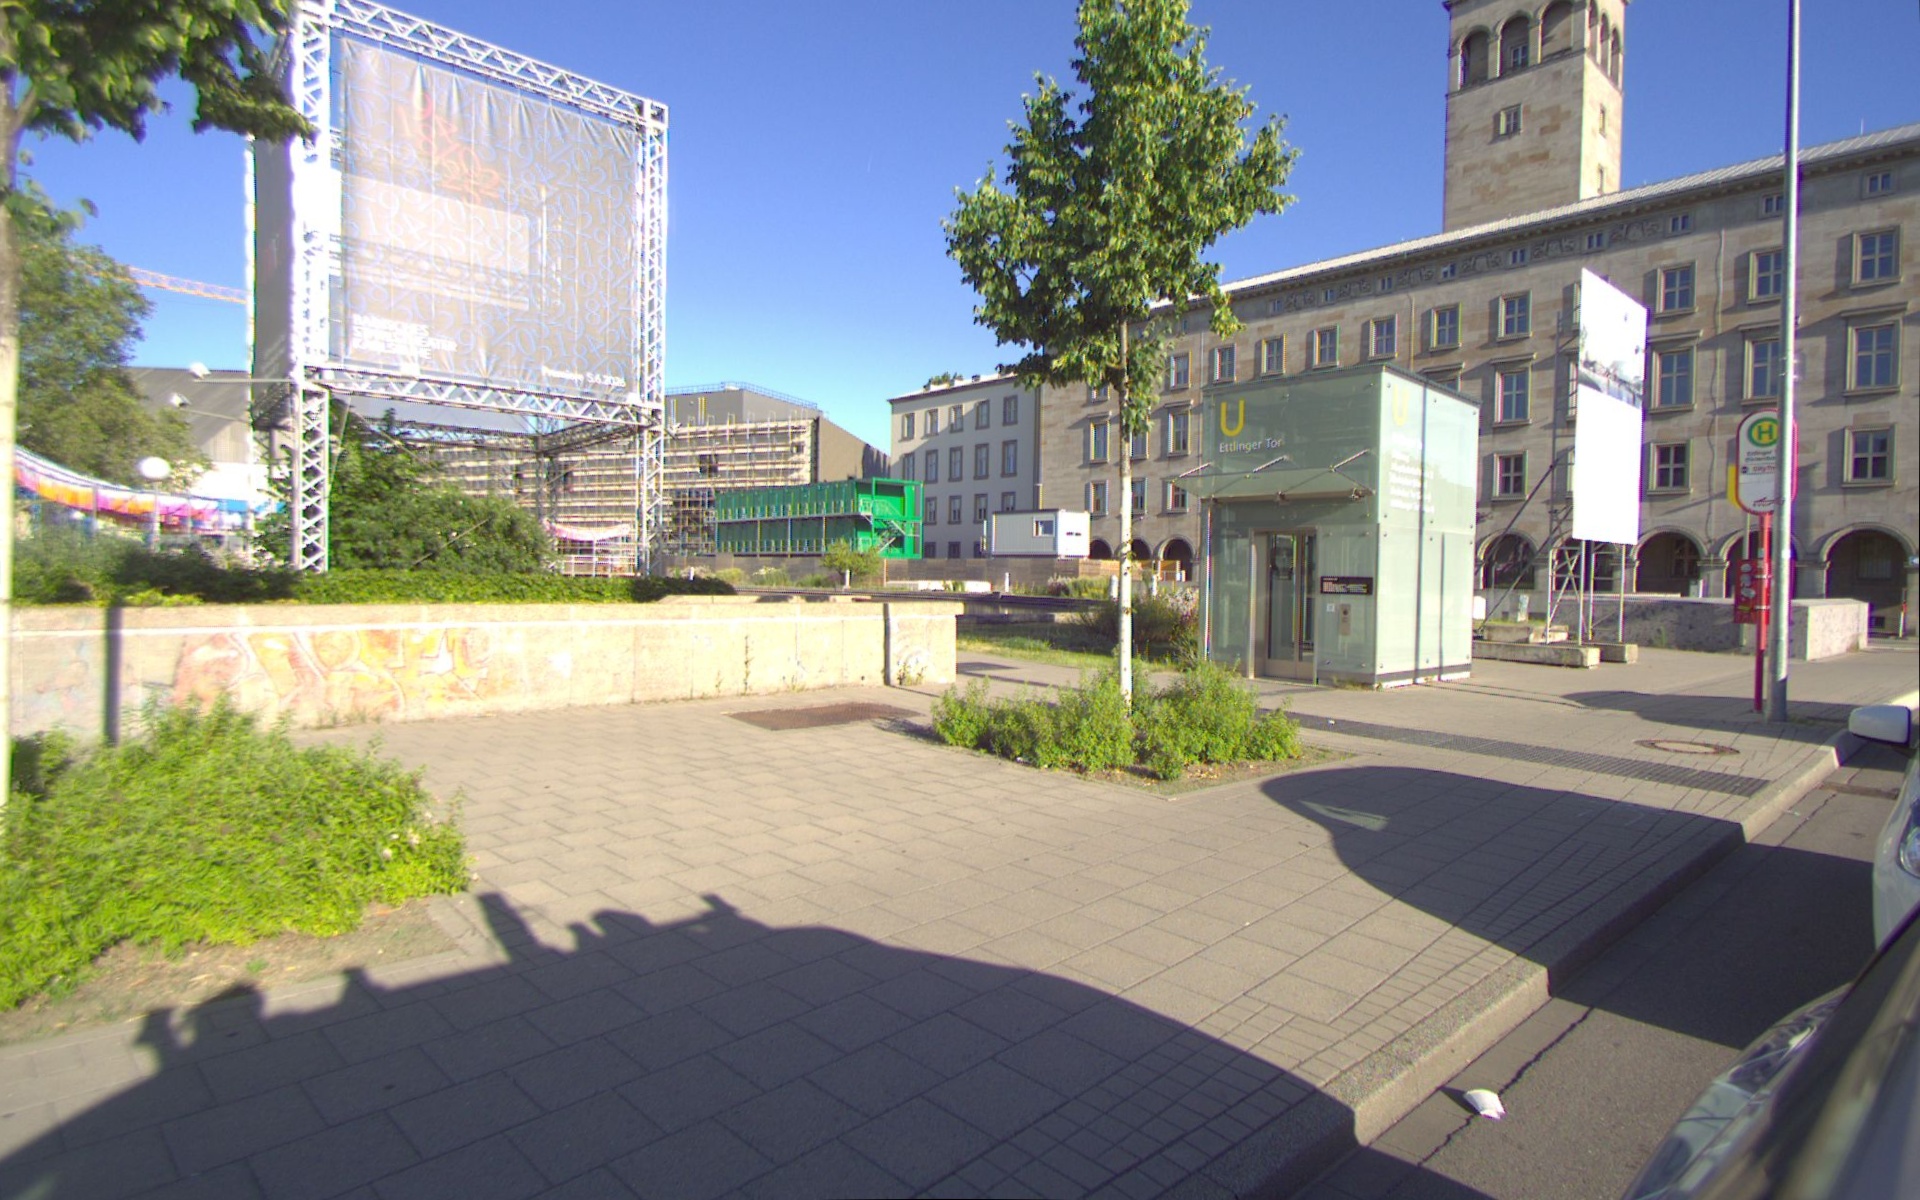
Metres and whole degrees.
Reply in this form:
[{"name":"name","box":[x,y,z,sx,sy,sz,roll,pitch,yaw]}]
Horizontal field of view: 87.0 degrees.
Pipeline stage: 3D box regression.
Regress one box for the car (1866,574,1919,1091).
[{"name":"car","box":[4.645,0.677,3.673,3.930,1.473,1.518,0,2,-41]}]
